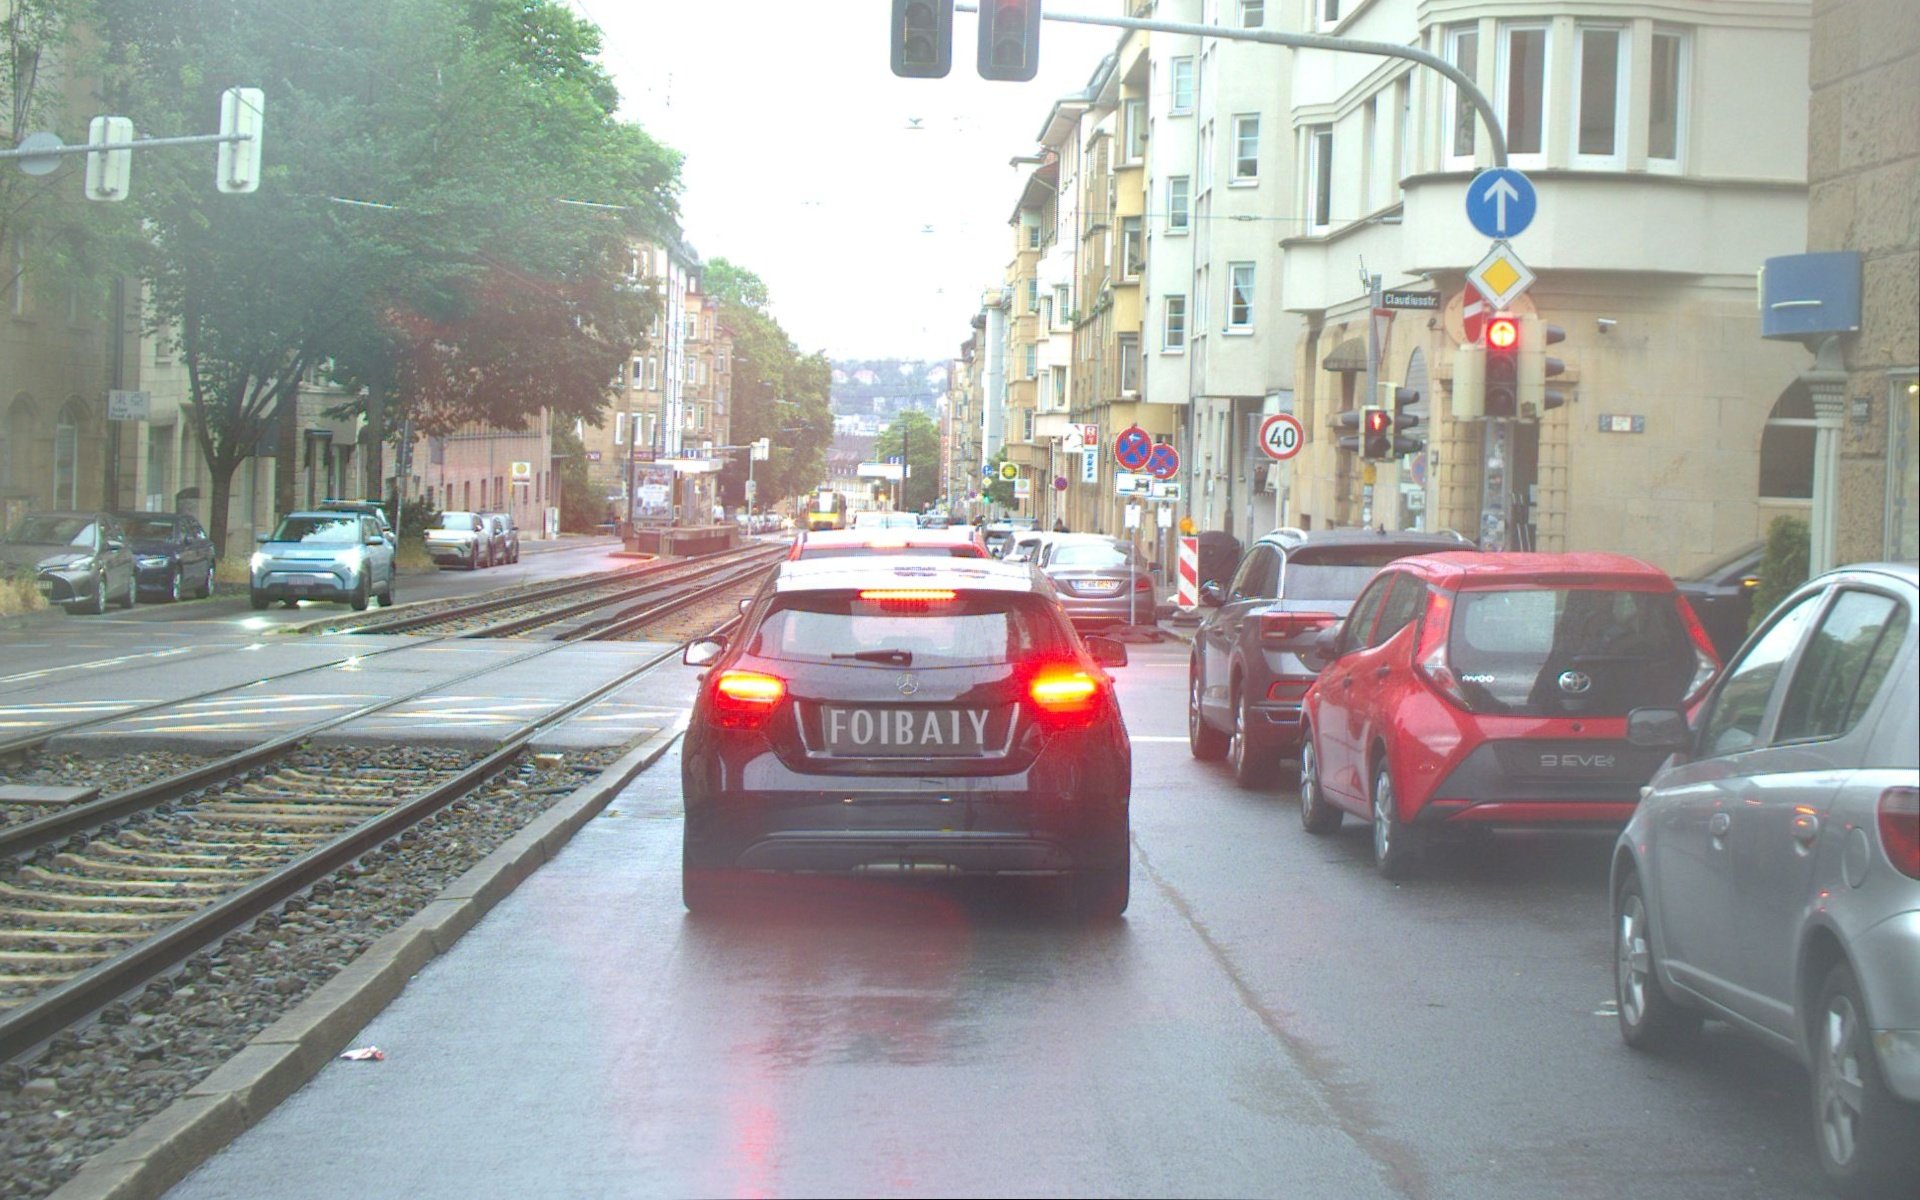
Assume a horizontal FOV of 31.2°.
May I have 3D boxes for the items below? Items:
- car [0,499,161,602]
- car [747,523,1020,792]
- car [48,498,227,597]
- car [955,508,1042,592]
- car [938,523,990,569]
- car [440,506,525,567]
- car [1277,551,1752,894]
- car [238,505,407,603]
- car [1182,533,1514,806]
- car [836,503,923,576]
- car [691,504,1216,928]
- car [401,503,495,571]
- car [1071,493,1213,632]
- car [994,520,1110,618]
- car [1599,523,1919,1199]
[{"bbox_3d":[-13.327,-0.731,51.586,1.771,1.459,4.000,1,0,-1],"label":"car"},{"bbox_3d":[-0.465,0.297,22.013,1.536,1.505,4.000,2,1,-1],"label":"car"},{"bbox_3d":[-13.561,-0.876,56.906,1.993,1.512,4.000,2,1,-1],"label":"car"},{"bbox_3d":[0.837,-1.087,76.895,1.852,1.791,3.812,1,0,-1],"label":"car"},{"bbox_3d":[0.144,-2.083,131.914,1.909,1.700,4.000,2,1,-1],"label":"car"},{"bbox_3d":[-14.310,-1.915,103.160,1.932,1.722,4.186,2,1,-1],"label":"car"},{"bbox_3d":[2.538,0.508,16.401,1.602,1.414,3.149,2,1,-2],"label":"car"},{"bbox_3d":[-10.468,-0.755,56.681,1.796,1.543,4.000,1,1,4],"label":"car"},{"bbox_3d":[2.356,0.365,21.757,1.549,1.503,4.000,2,1,-1],"label":"car"},{"bbox_3d":[-1.904,-1.457,82.448,1.921,1.649,4.000,2,1,0],"label":"car"},{"bbox_3d":[-0.086,0.425,14.732,1.946,1.559,3.643,1,0,-2],"label":"car"},{"bbox_3d":[-14.136,-1.741,95.099,1.993,1.787,4.000,2,1,-1],"label":"car"},{"bbox_3d":[2.766,-0.554,53.106,1.898,2.021,4.176,1,0,-1],"label":"car"},{"bbox_3d":[1.716,-0.571,65.539,1.768,1.770,4.001,1,0,-5],"label":"car"},{"bbox_3d":[2.875,0.593,9.114,1.638,1.537,3.466,2,1,-1],"label":"car"}]
